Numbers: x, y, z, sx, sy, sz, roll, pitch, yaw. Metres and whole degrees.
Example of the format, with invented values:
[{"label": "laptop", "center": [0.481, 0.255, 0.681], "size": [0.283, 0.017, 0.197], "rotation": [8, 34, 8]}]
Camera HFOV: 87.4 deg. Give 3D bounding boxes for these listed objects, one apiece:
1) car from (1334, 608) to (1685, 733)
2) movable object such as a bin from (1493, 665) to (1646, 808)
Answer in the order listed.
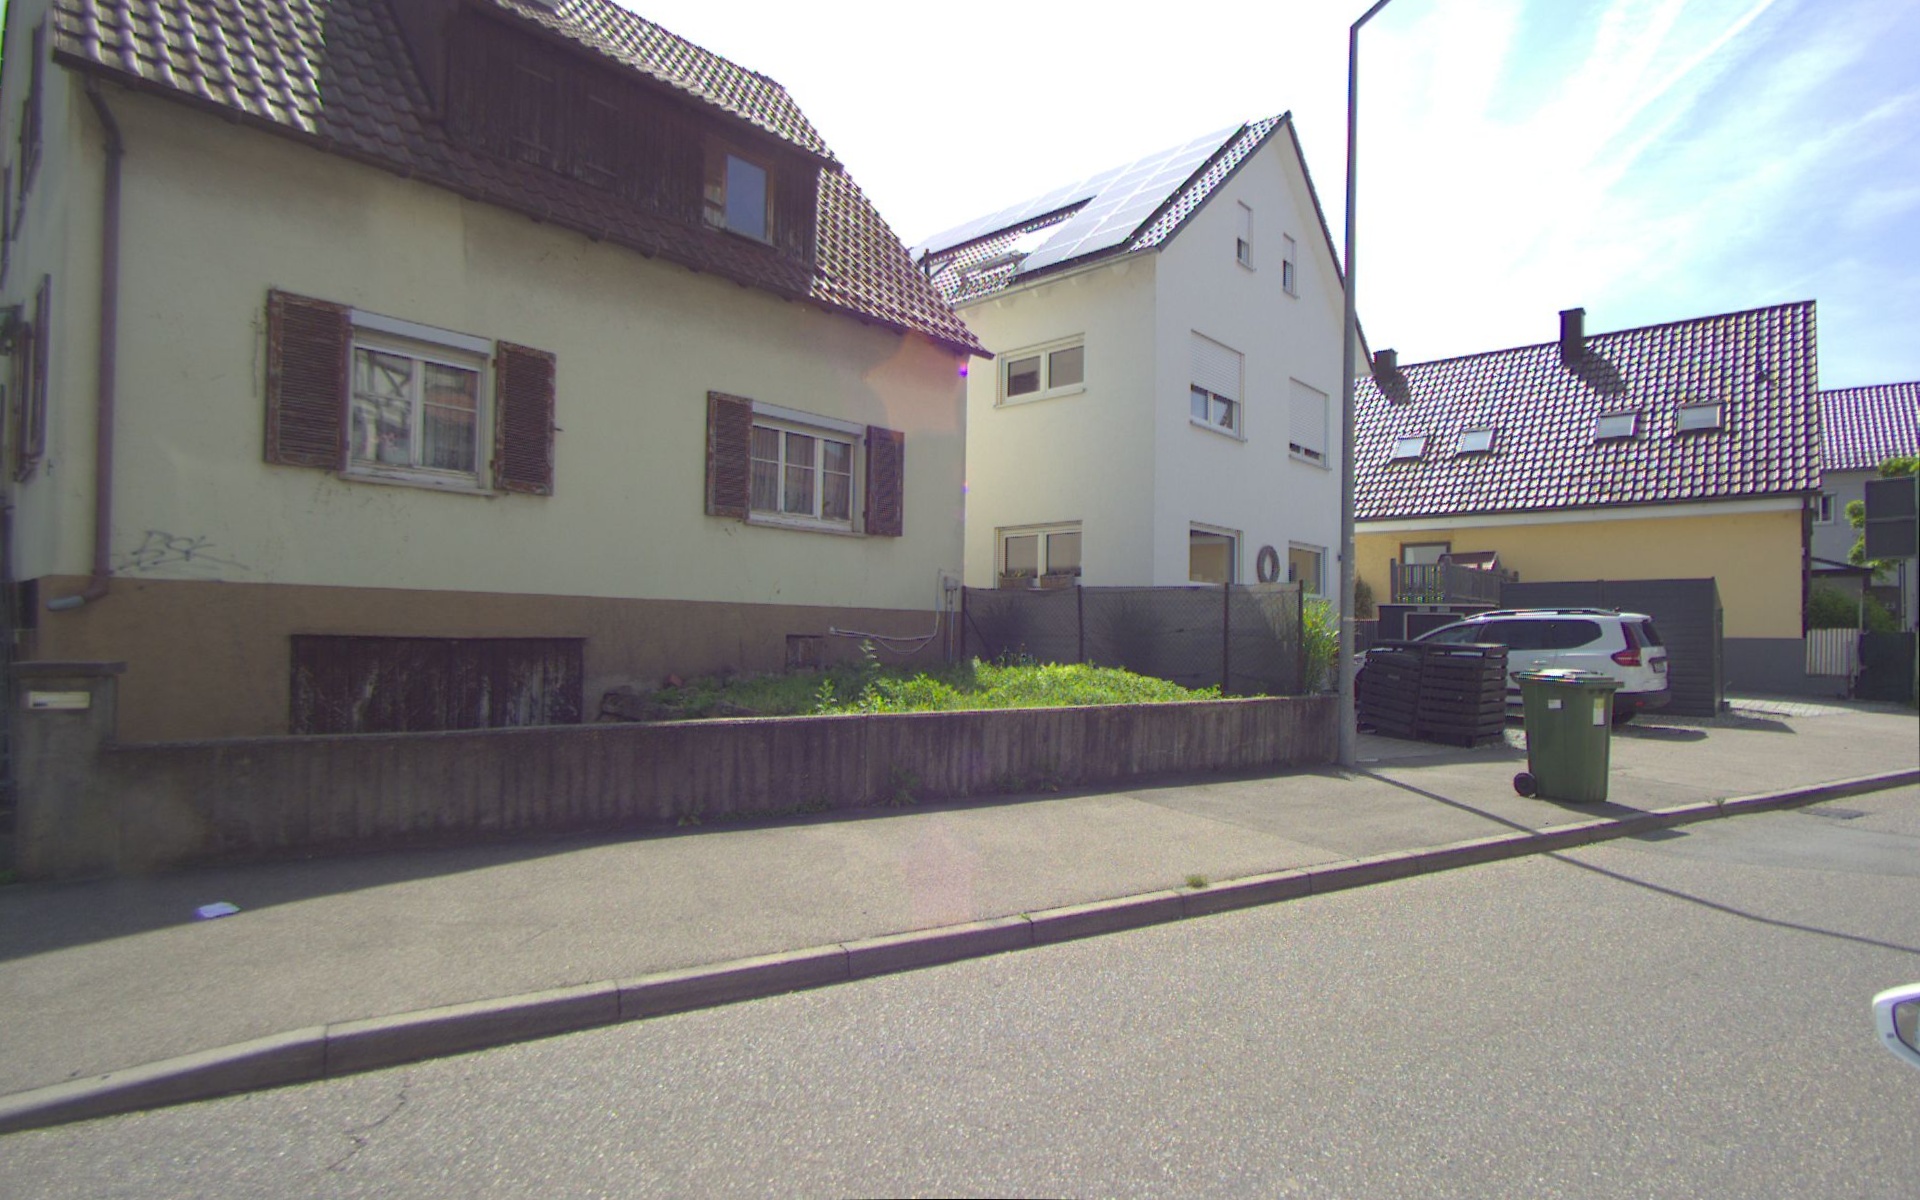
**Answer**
[{"label": "car", "center": [8.324, 1.000, 15.538], "size": [1.985, 1.644, 4.363], "rotation": [2, -2, -41]}, {"label": "movable object such as a bin", "center": [5.199, 1.128, 8.584], "size": [0.808, 1.091, 0.822], "rotation": [0, -1, -28]}]
